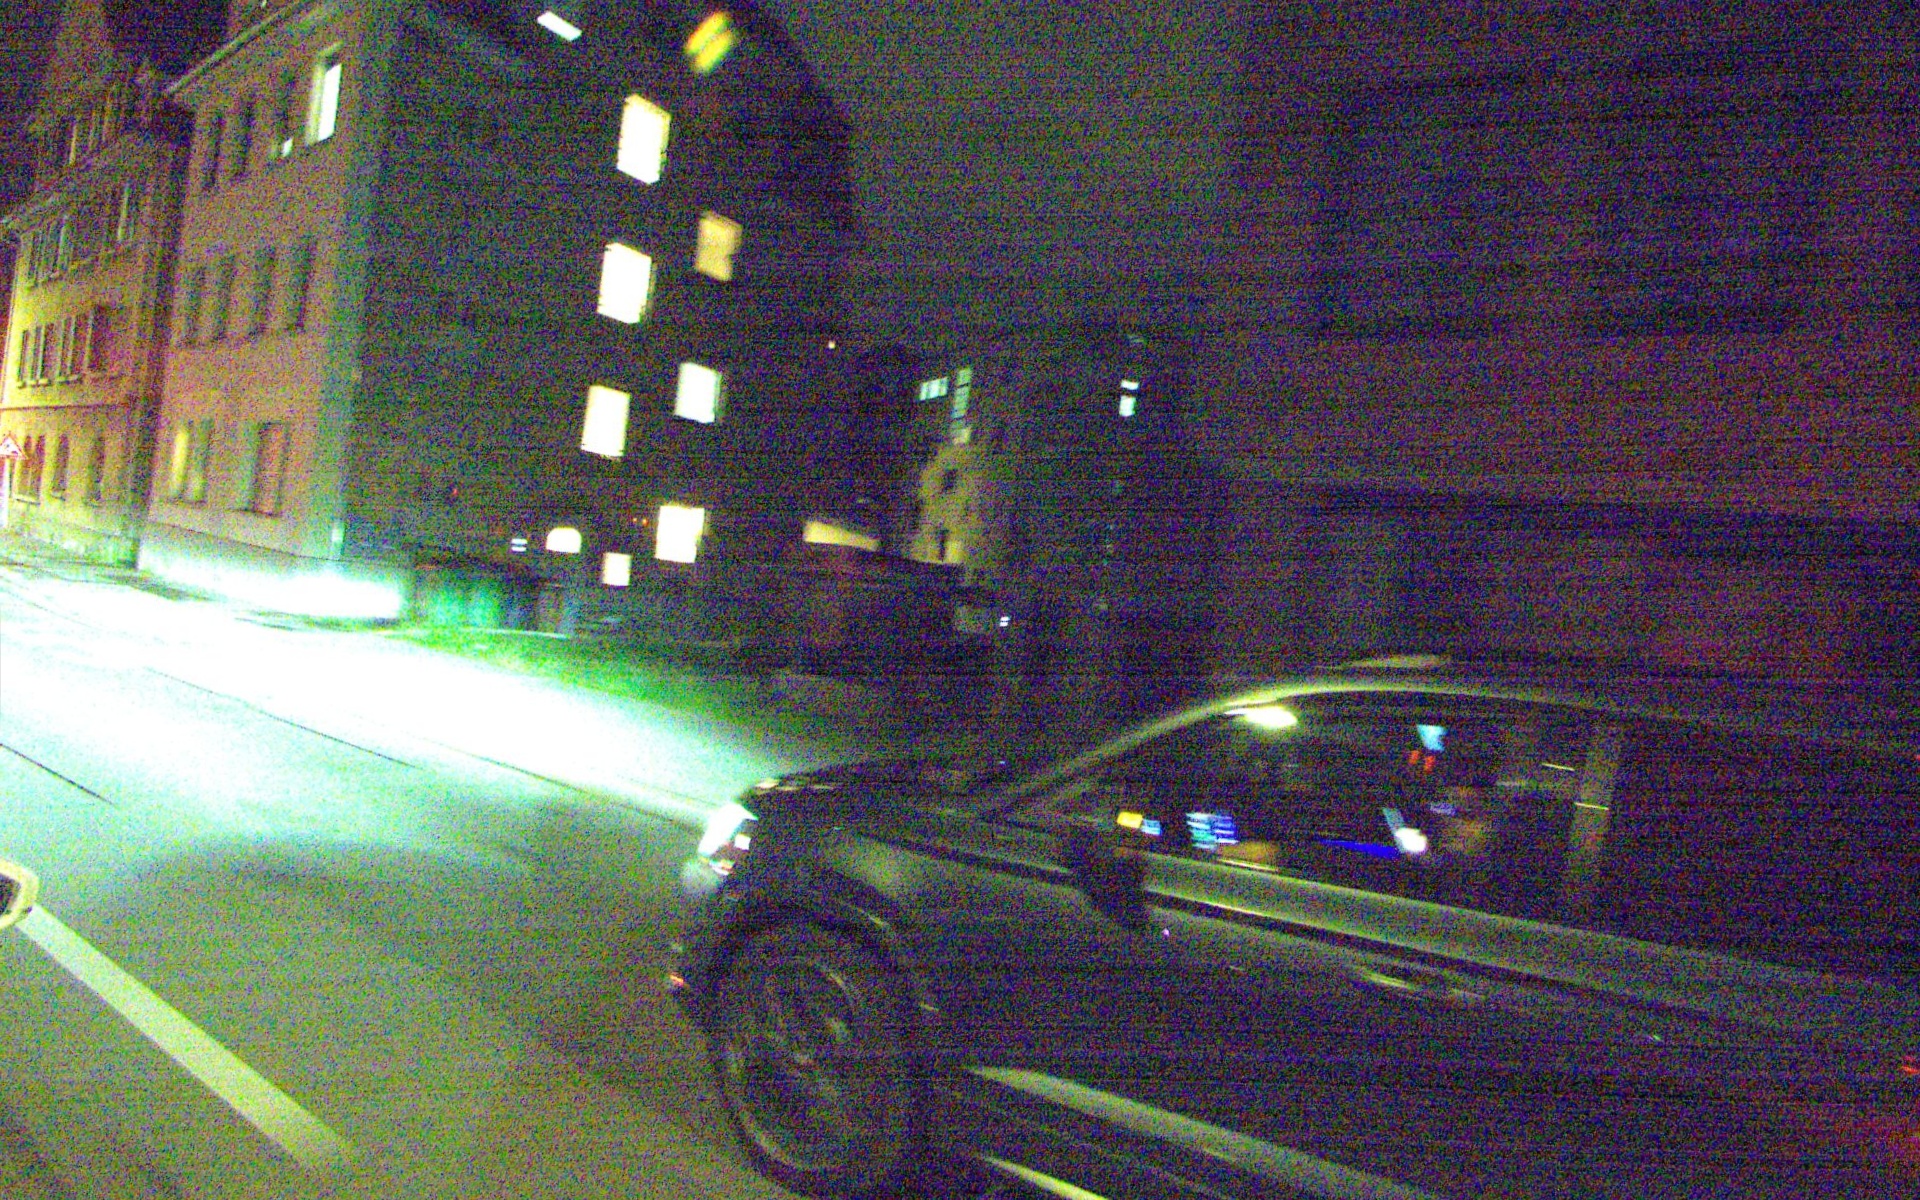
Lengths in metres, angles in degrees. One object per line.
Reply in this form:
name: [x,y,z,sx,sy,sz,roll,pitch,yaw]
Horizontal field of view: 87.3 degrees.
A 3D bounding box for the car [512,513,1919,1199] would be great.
car: [0.888,0.816,2.796,4.159,1.629,1.673,7,-2,31]
